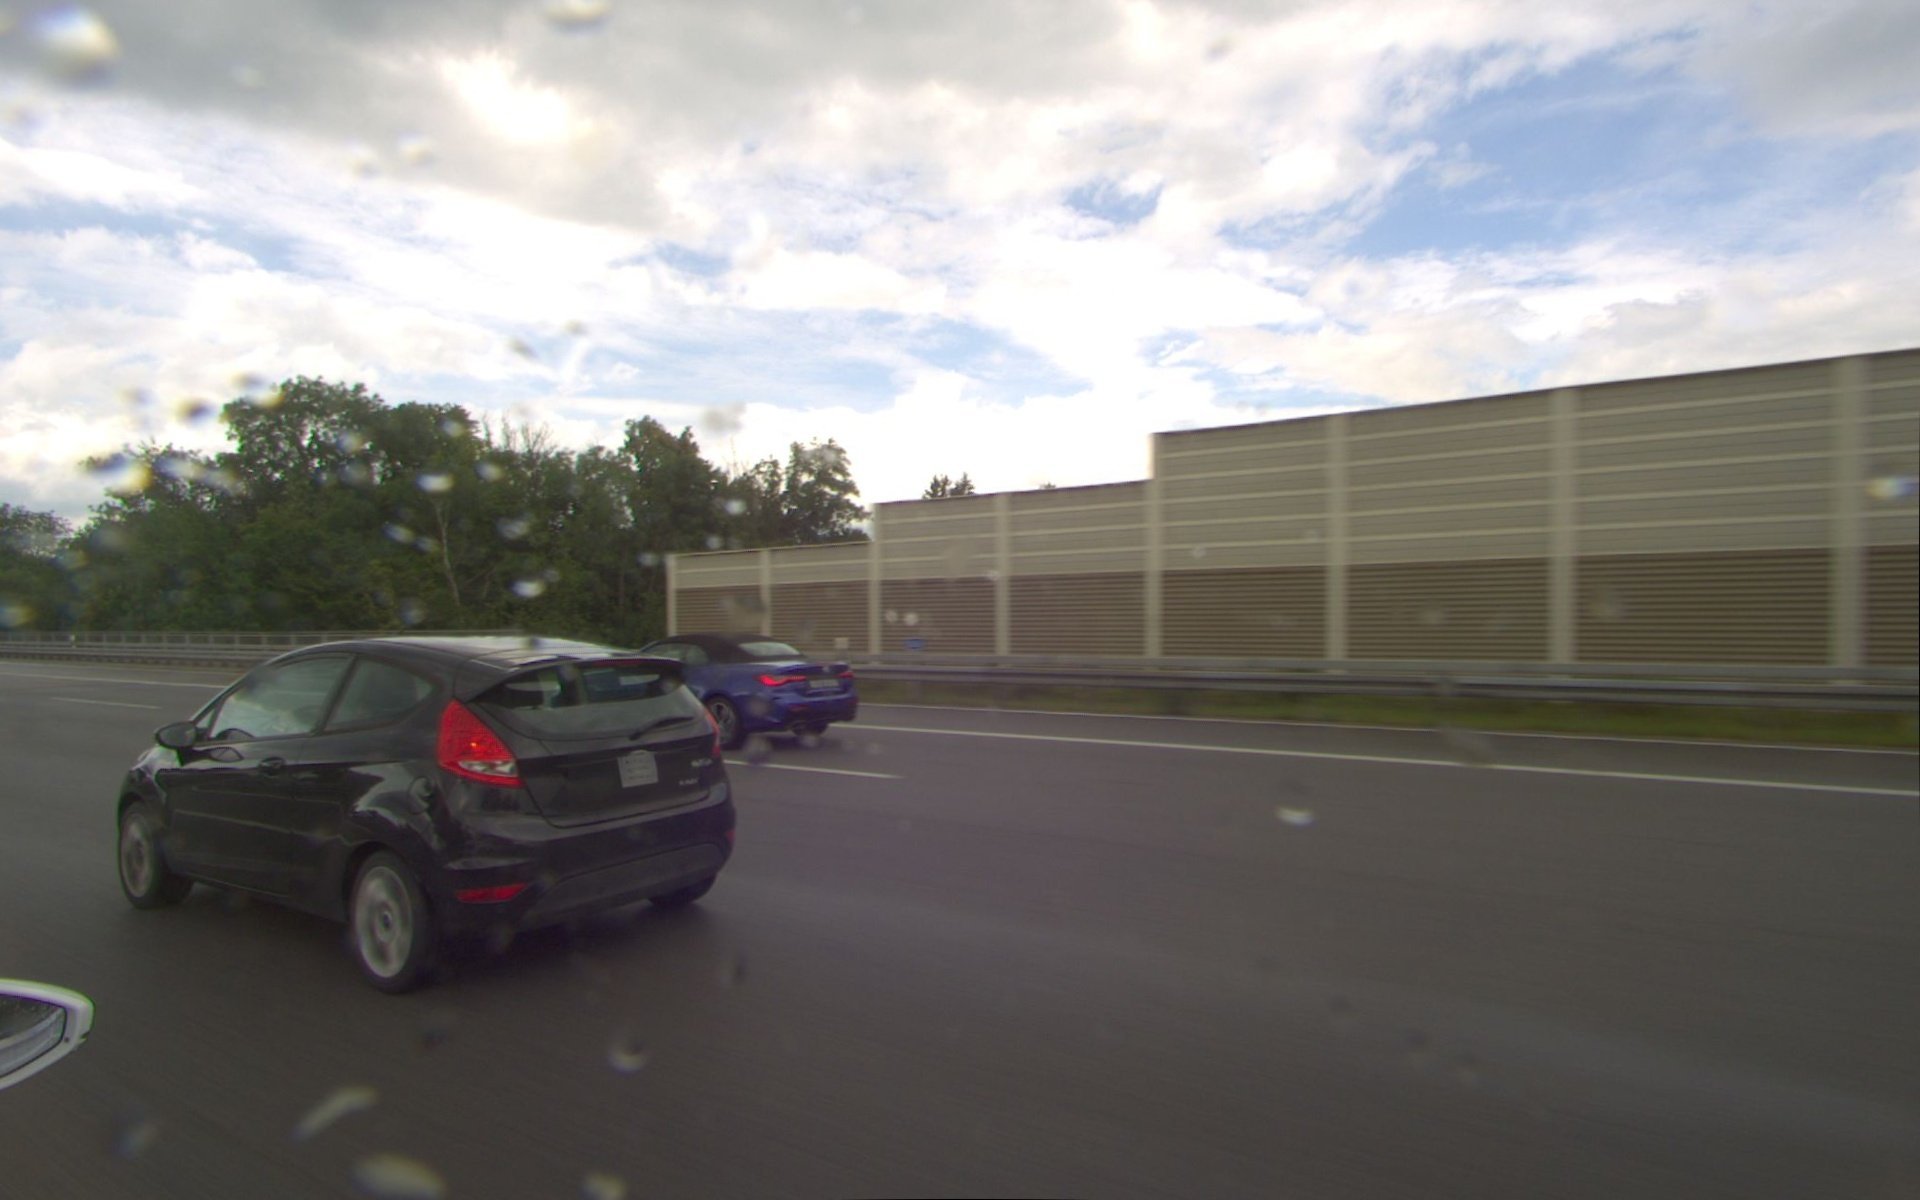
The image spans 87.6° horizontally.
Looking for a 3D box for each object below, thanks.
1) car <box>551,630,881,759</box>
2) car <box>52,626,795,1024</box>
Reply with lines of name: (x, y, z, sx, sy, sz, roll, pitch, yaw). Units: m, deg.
car: (-3.303, 1.131, 13.362, 4.172, 1.437, 1.946, -1, -1, 33)
car: (-3.073, 0.902, 5.477, 4.217, 1.435, 1.715, -2, -2, 32)
